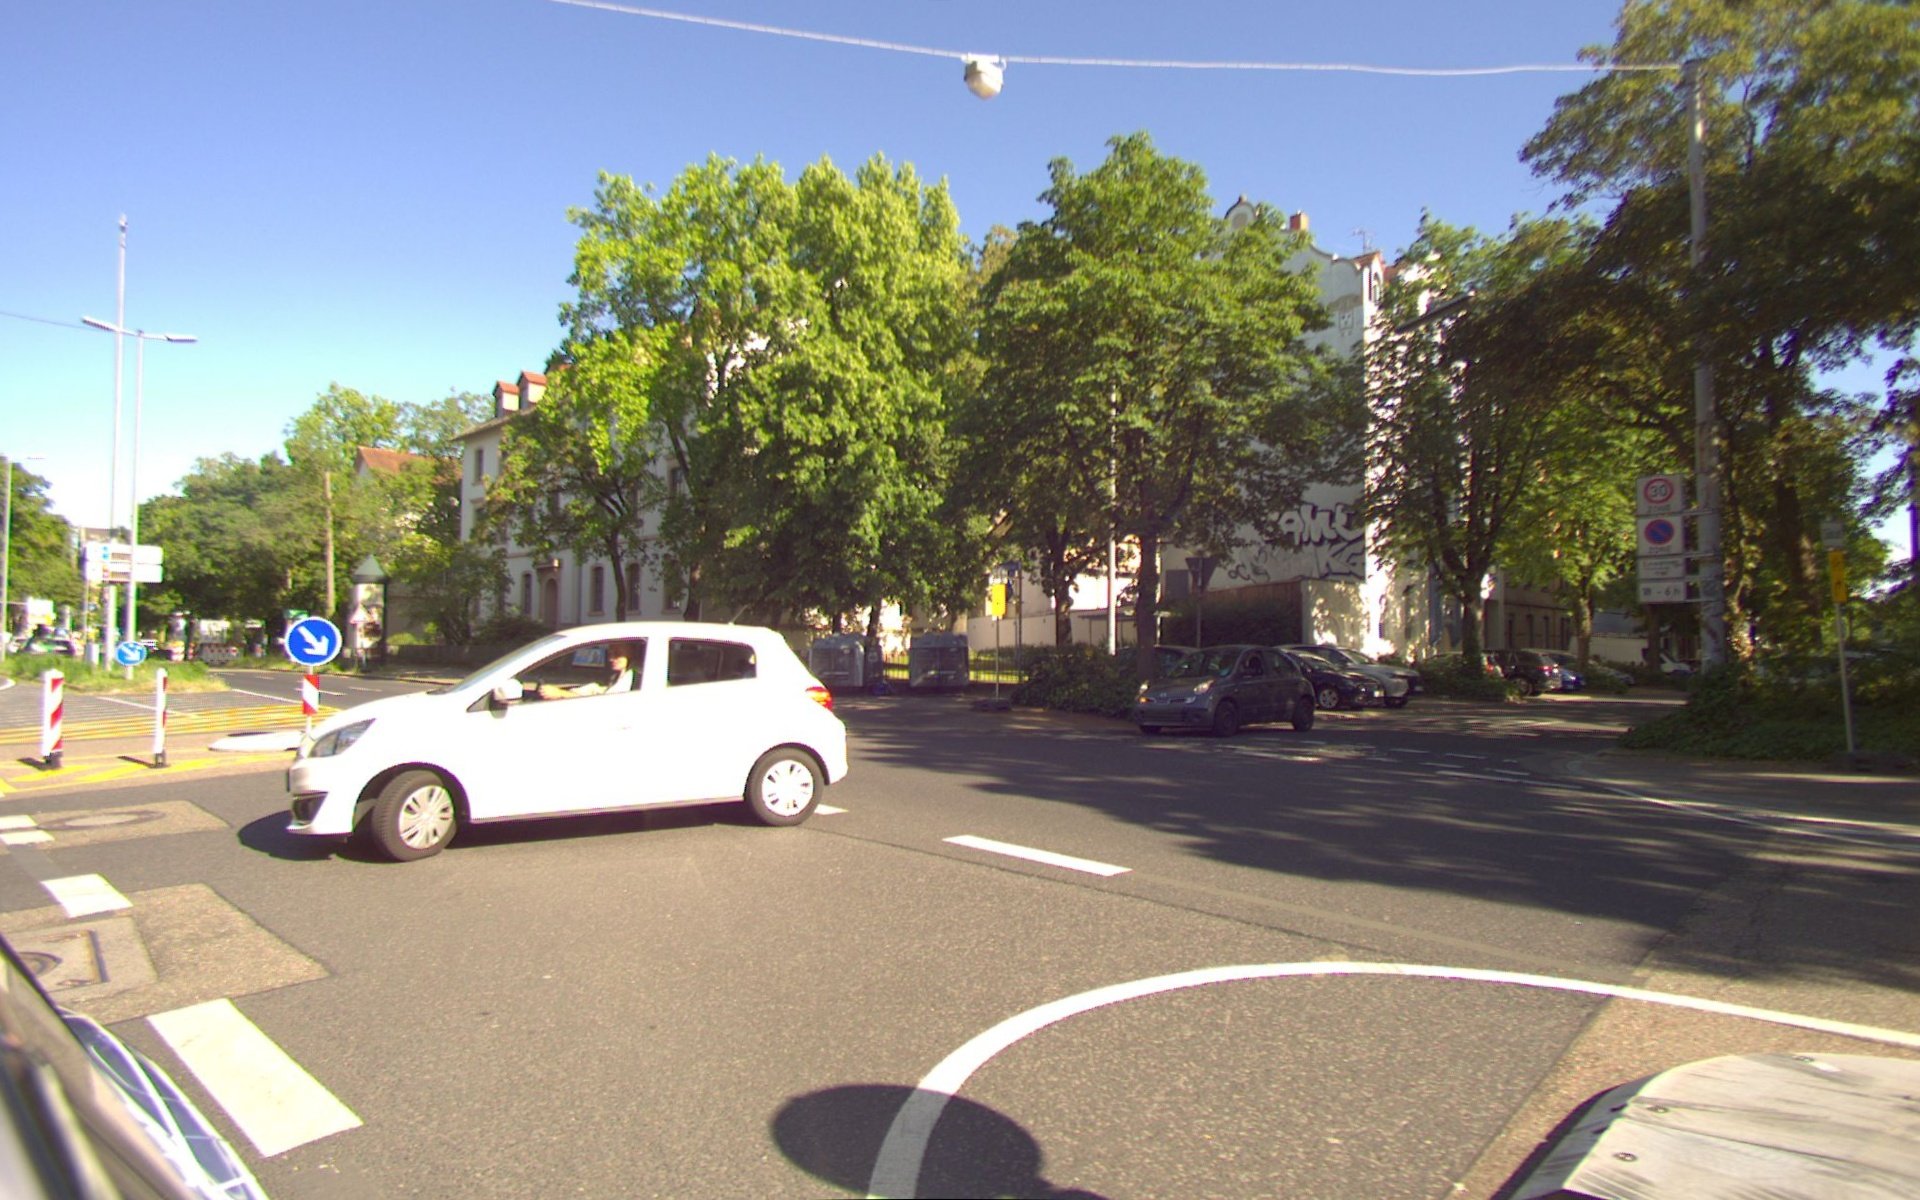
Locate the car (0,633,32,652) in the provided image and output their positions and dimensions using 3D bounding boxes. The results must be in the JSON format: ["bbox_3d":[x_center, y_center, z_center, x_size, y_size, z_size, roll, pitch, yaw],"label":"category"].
[{"bbox_3d":[-75.299,3.389,80.622,3.716,1.439,1.573,-1,-4,42],"label":"car"}]

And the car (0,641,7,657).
[{"bbox_3d":[-88.811,4.463,92.938,3.716,1.439,1.573,-1,-4,42],"label":"car"}]

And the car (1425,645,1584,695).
[{"bbox_3d":[19.590,2.491,36.605,1.864,1.701,4.709,3,-4,-38],"label":"car"}]

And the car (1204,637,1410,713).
[{"bbox_3d":[8.871,1.867,26.164,1.866,1.701,4.704,4,-3,-43],"label":"car"}]

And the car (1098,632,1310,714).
[{"bbox_3d":[5.474,1.637,23.335,1.863,1.701,4.711,3,-4,-34],"label":"car"}]

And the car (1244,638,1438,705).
[{"bbox_3d":[10.466,1.945,28.109,1.865,1.701,4.706,4,-4,-41],"label":"car"}]

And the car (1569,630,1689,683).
[{"bbox_3d":[34.726,2.933,52.628,1.866,2.643,4.920,4,-5,-44],"label":"car"}]

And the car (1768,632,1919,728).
[{"bbox_3d":[23.211,1.963,24.946,1.866,2.263,4.921,4,-5,-44],"label":"car"}]

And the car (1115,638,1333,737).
[{"bbox_3d":[4.580,1.452,17.339,3.721,1.502,1.847,4,-4,-41],"label":"car"}]

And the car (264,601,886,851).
[{"bbox_3d":[-2.653,0.858,7.500,3.829,1.469,1.659,3,-4,-24],"label":"car"}]

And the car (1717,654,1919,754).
[{"bbox_3d":[16.981,1.860,18.443,1.863,1.701,4.711,3,-4,-34],"label":"car"}]

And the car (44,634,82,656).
[{"bbox_3d":[-64.074,3.200,72.247,3.716,1.439,1.573,-1,-4,42],"label":"car"}]
